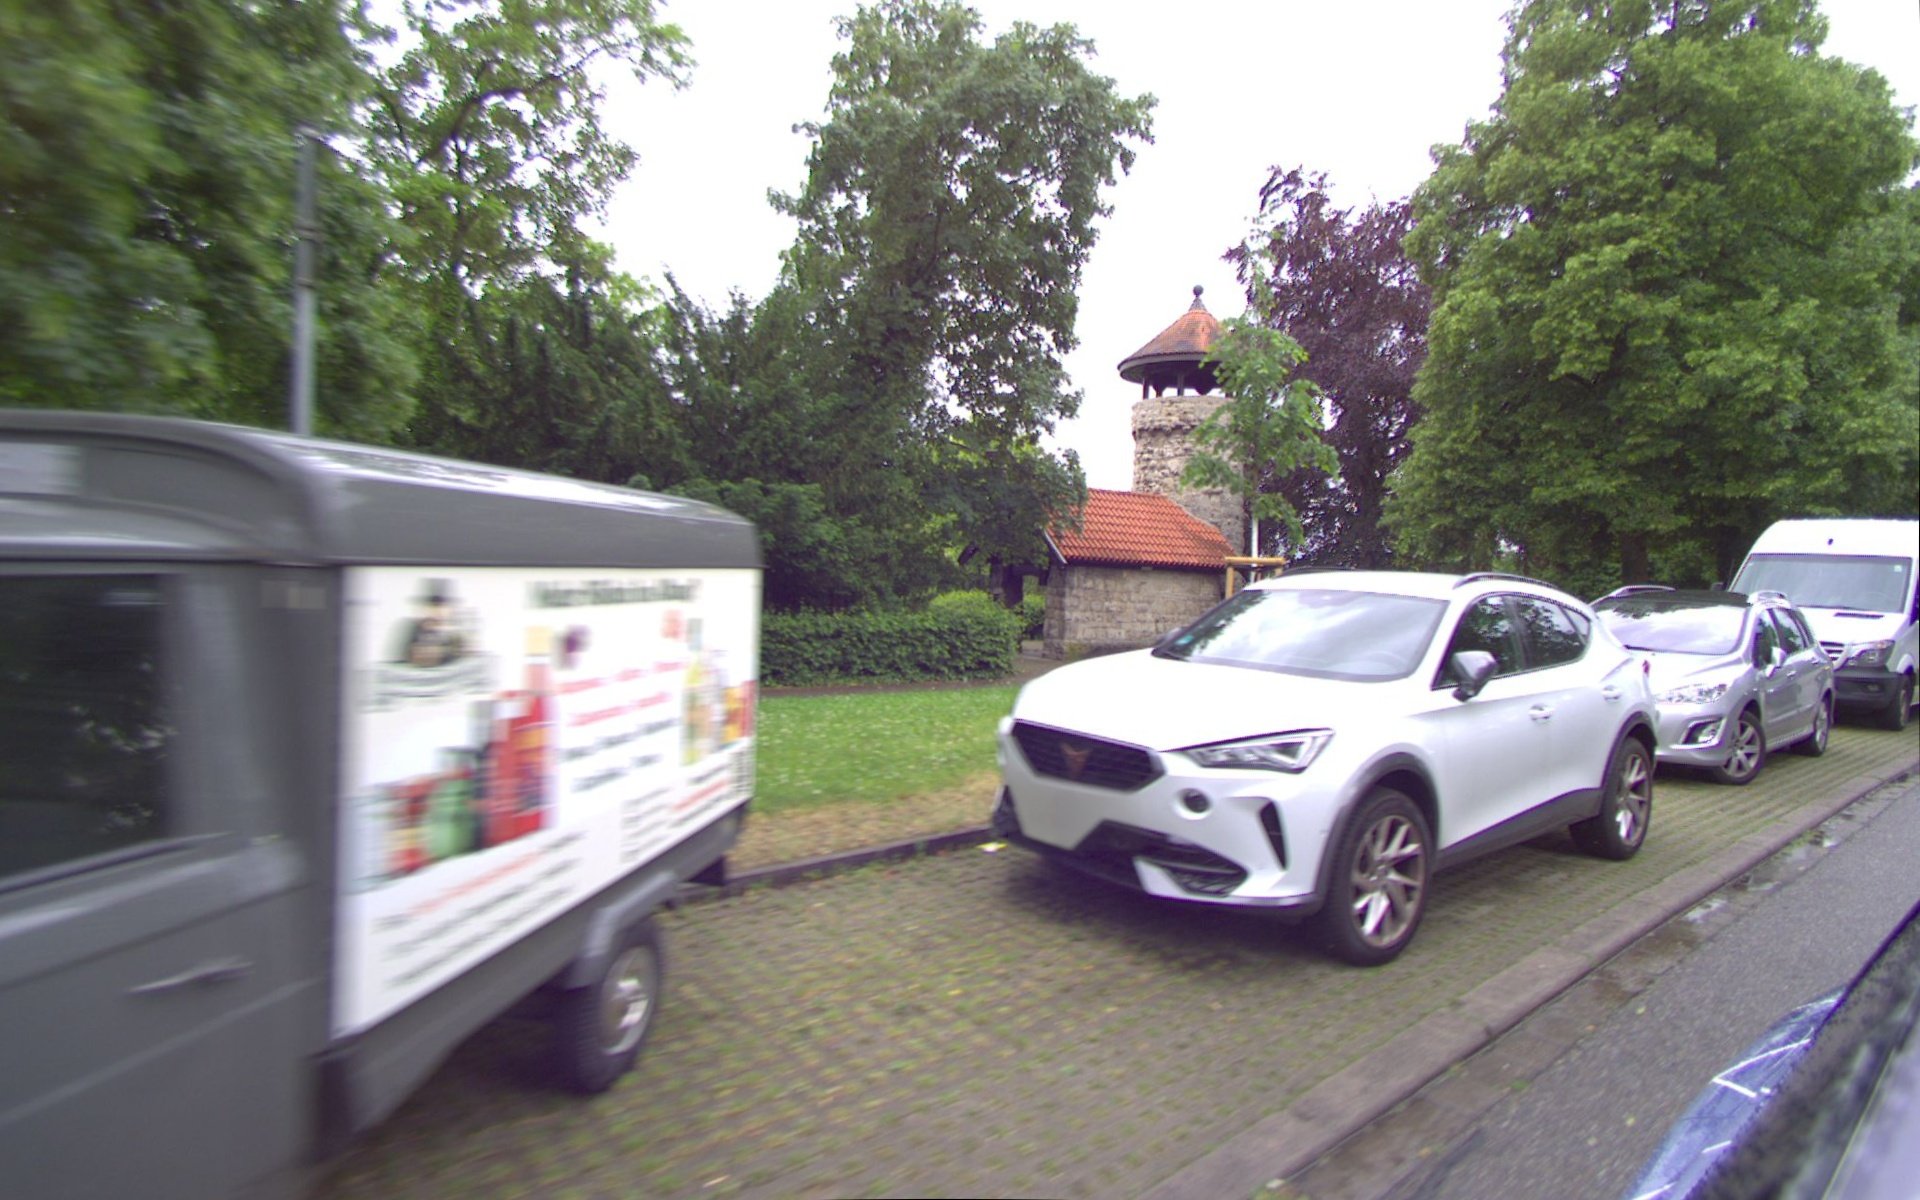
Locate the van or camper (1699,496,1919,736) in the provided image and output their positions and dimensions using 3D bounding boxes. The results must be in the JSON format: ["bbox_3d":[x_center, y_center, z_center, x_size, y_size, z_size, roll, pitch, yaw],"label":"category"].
[{"bbox_3d":[13.150,0.112,14.349,8.281,2.614,2.022,0,3,-38],"label":"van or camper"}]

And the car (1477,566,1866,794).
[{"bbox_3d":[6.622,0.569,9.255,4.191,1.557,1.810,1,3,-40],"label":"car"}]

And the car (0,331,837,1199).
[{"bbox_3d":[-1.641,0.452,2.621,1.585,1.701,3.999,2,3,9],"label":"car"}]

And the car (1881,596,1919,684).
[{"bbox_3d":[18.608,0.773,18.438,3.653,1.530,1.872,2,2,-34],"label":"car"}]

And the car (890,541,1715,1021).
[{"bbox_3d":[2.060,0.558,5.387,4.483,1.516,1.999,1,2,-38],"label":"car"}]
